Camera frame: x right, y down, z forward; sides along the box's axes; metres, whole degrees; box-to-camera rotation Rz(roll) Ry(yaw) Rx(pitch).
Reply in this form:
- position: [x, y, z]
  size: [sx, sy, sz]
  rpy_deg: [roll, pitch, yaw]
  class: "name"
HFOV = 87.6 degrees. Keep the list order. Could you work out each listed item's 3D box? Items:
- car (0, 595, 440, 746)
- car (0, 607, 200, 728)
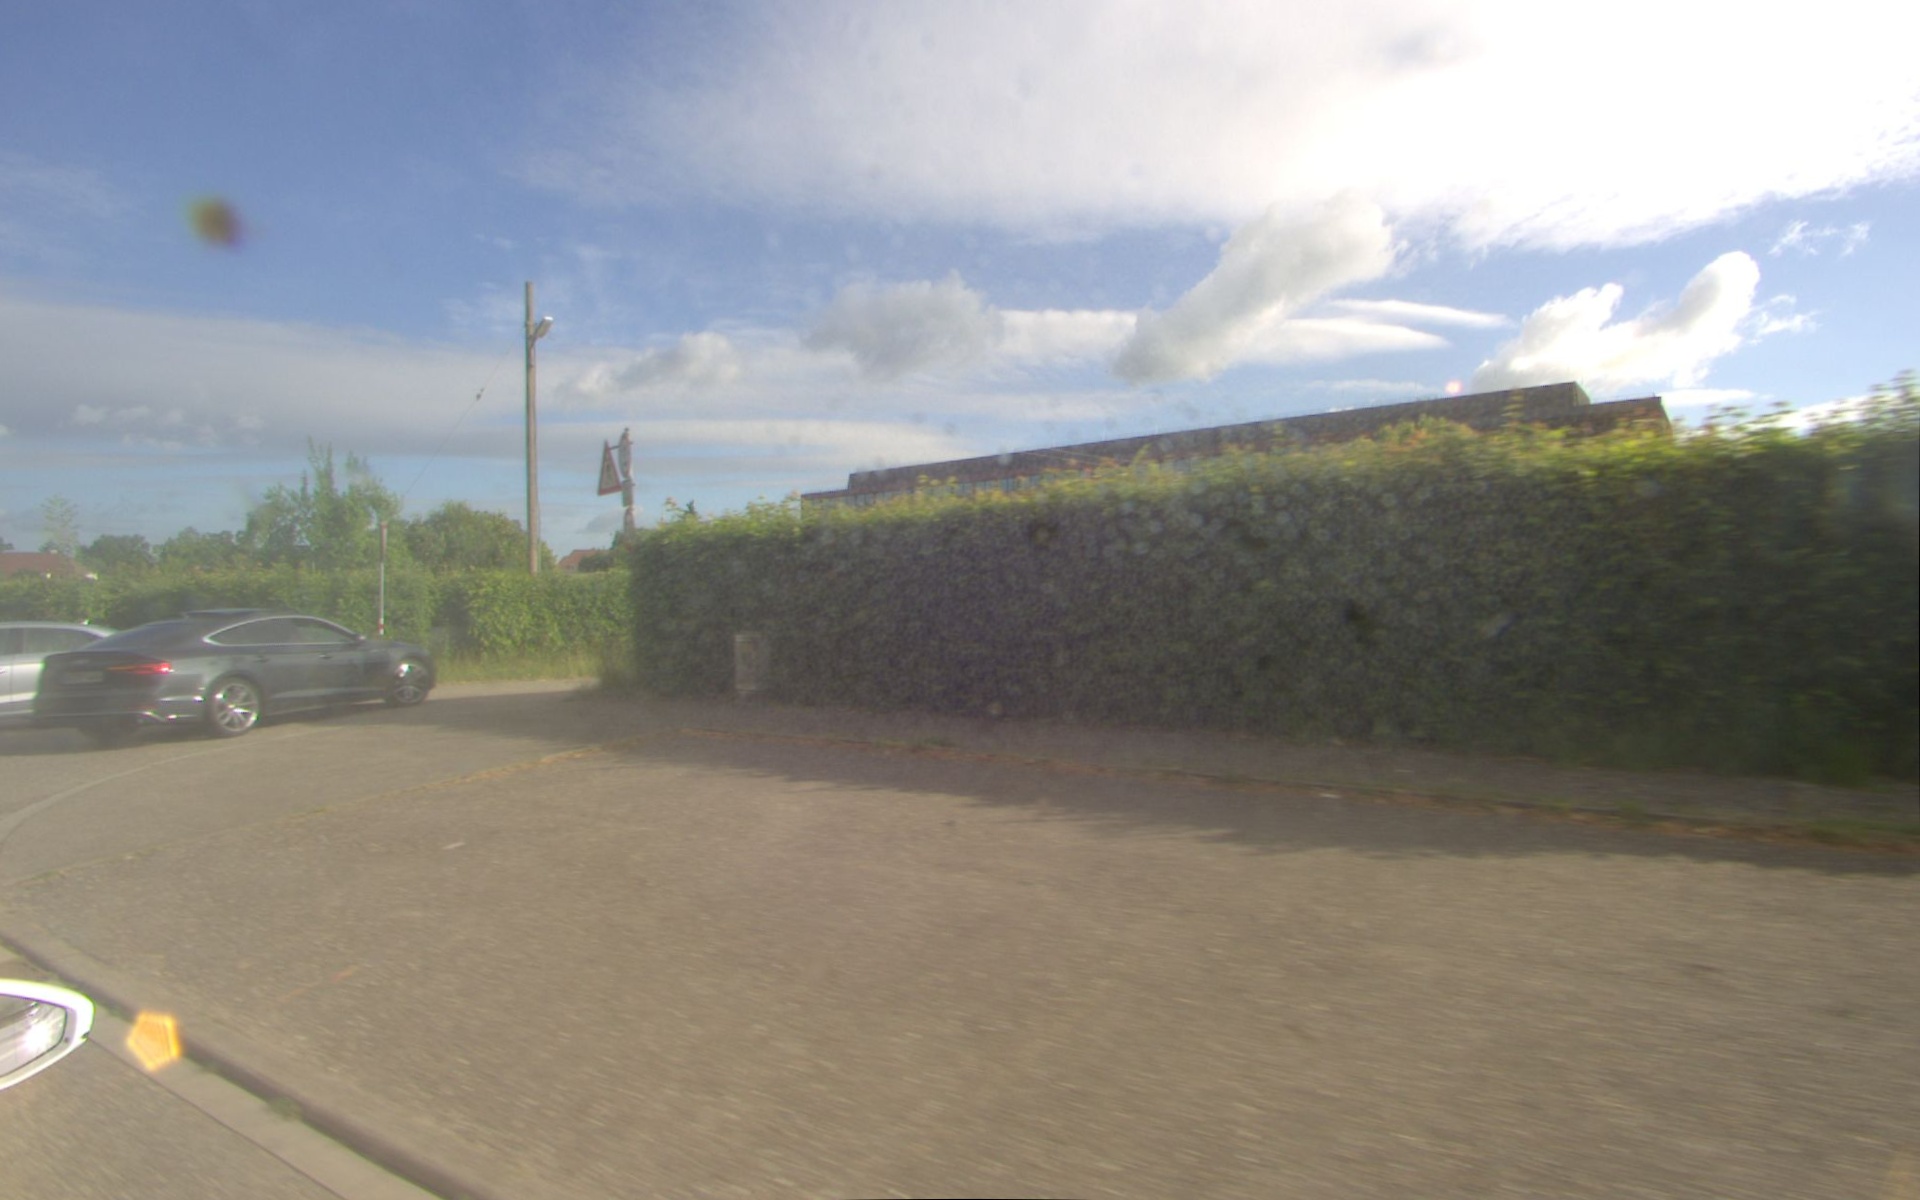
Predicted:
- position: [-8.754, 0.715, 12.326]
  size: [1.935, 1.454, 4.332]
  rpy_deg: [-1, 1, 9]
  class: "car"
- position: [-12.843, 0.898, 13.041]
  size: [1.909, 1.462, 4.342]
  rpy_deg: [-1, 0, 39]
  class: "car"
